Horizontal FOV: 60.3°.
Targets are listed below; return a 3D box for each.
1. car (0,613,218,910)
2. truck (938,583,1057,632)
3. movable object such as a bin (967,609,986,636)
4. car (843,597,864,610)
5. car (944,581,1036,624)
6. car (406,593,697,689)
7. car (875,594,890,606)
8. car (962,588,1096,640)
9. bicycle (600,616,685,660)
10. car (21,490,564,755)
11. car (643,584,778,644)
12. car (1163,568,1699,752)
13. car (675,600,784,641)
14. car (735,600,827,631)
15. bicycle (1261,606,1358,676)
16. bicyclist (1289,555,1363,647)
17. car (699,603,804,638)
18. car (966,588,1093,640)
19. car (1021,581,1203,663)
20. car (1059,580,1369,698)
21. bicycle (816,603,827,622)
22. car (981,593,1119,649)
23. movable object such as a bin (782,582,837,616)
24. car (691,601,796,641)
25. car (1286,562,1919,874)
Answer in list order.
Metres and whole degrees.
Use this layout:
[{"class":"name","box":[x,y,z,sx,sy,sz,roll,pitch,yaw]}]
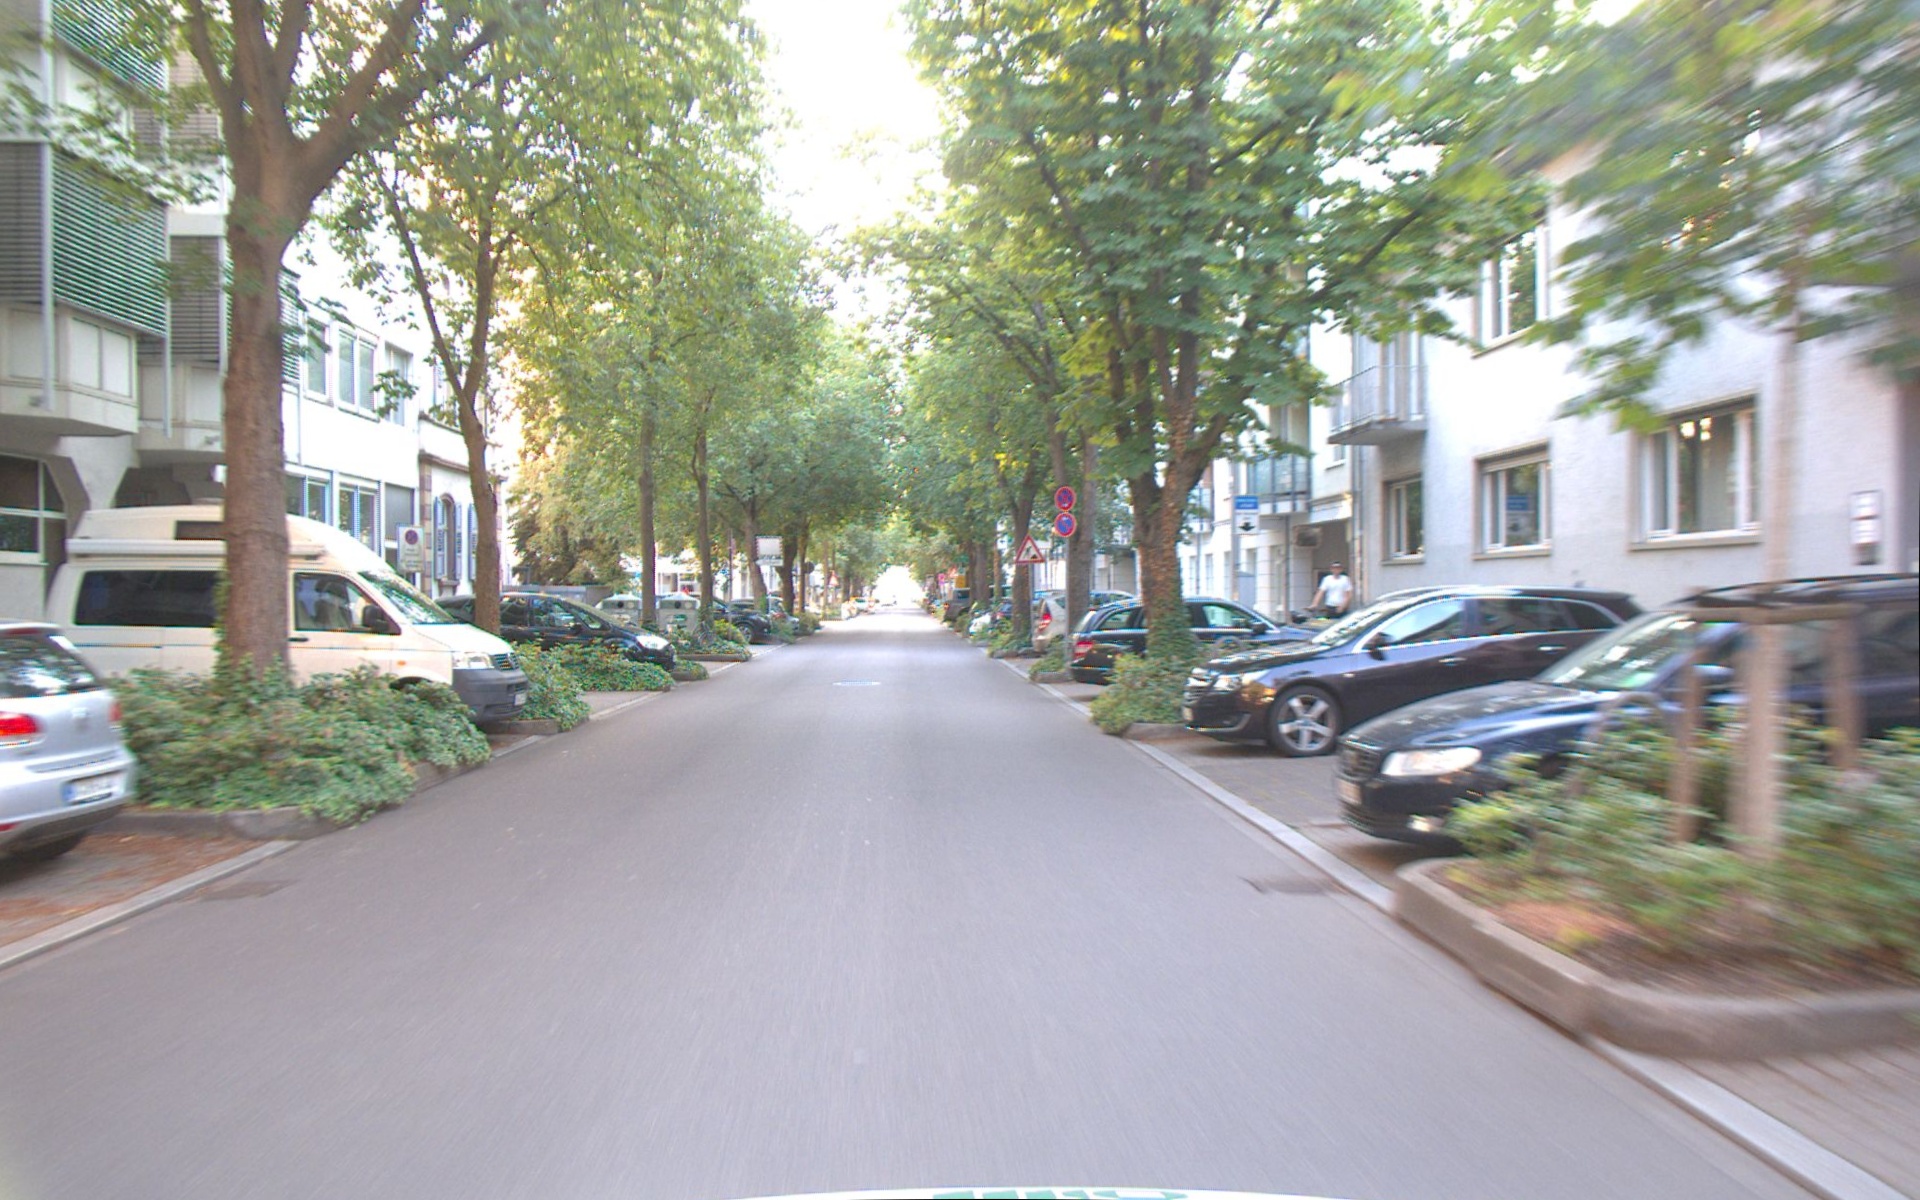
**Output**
[{"class":"car","box":[-6.707,0.852,9.391,4.084,1.494,1.952,0,0,-2]},{"class":"truck","box":[1.820,0.375,81.364,5.769,2.351,2.212,0,0,-2]},{"class":"movable object such as a bin","box":[0.699,0.939,69.134,0.745,1.103,0.785,-2,0,-1]},{"class":"car","box":[-10.905,0.328,168.432,1.955,1.311,3.995,0,0,-6]},{"class":"car","box":[1.508,0.133,84.096,4.509,2.102,2.196,-1,0,-4]},{"class":"car","box":[-7.311,0.713,30.026,4.754,1.650,2.159,0,0,-2]},{"class":"car","box":[-10.510,0.017,225.229,1.970,1.641,4.117,0,1,-4]},{"class":"car","box":[2.394,0.485,58.015,4.509,1.493,1.795,-3,0,-3]},{"class":"bicycle","box":[-6.170,0.735,32.202,1.521,0.845,0.613,0,0,1]},{"class":"car","box":[-6.919,0.215,17.623,4.903,2.618,2.120,0,0,-3]},{"class":"car","box":[-8.534,0.472,56.908,4.416,1.989,1.998,0,0,-4]},{"class":"car","box":[4.427,0.544,16.080,4.583,1.412,2.000,-3,0,-1]},{"class":"car","box":[-8.634,0.764,62.172,3.908,1.489,1.921,0,0,-4]},{"class":"car","box":[-9.228,0.806,85.711,4.524,1.579,2.075,0,0,0]},{"class":"bicycle","box":[6.240,0.700,29.760,0.609,1.184,3.395,-1,0,-8]},{"class":"bicyclist","box":[6.620,0.015,29.993,0.952,1.632,1.133,-1,0,-9]},{"class":"car","box":[-8.775,0.859,69.844,4.201,1.455,1.878,0,0,-3]},{"class":"car","box":[2.638,0.515,63.349,4.554,1.645,2.007,-4,0,-6]},{"class":"car","box":[3.458,0.493,38.125,3.890,1.613,1.915,-3,0,-3]},{"class":"car","box":[3.729,0.569,24.931,4.367,1.452,2.012,-3,0,2]},{"class":"bicycle","box":[-9.129,0.827,109.051,0.670,1.173,1.978,-1,0,-7]},{"class":"car","box":[2.804,0.642,52.154,4.007,1.476,1.931,-4,0,-8]},{"class":"movable object such as a bin","box":[-11.224,-0.082,123.505,3.970,2.425,2.779,-1,0,-8]},{"class":"car","box":[-8.767,0.839,67.216,3.903,1.593,1.930,0,0,3]},{"class":"car","box":[4.493,0.575,9.641,4.741,1.473,2.042,-3,0,0]}]
